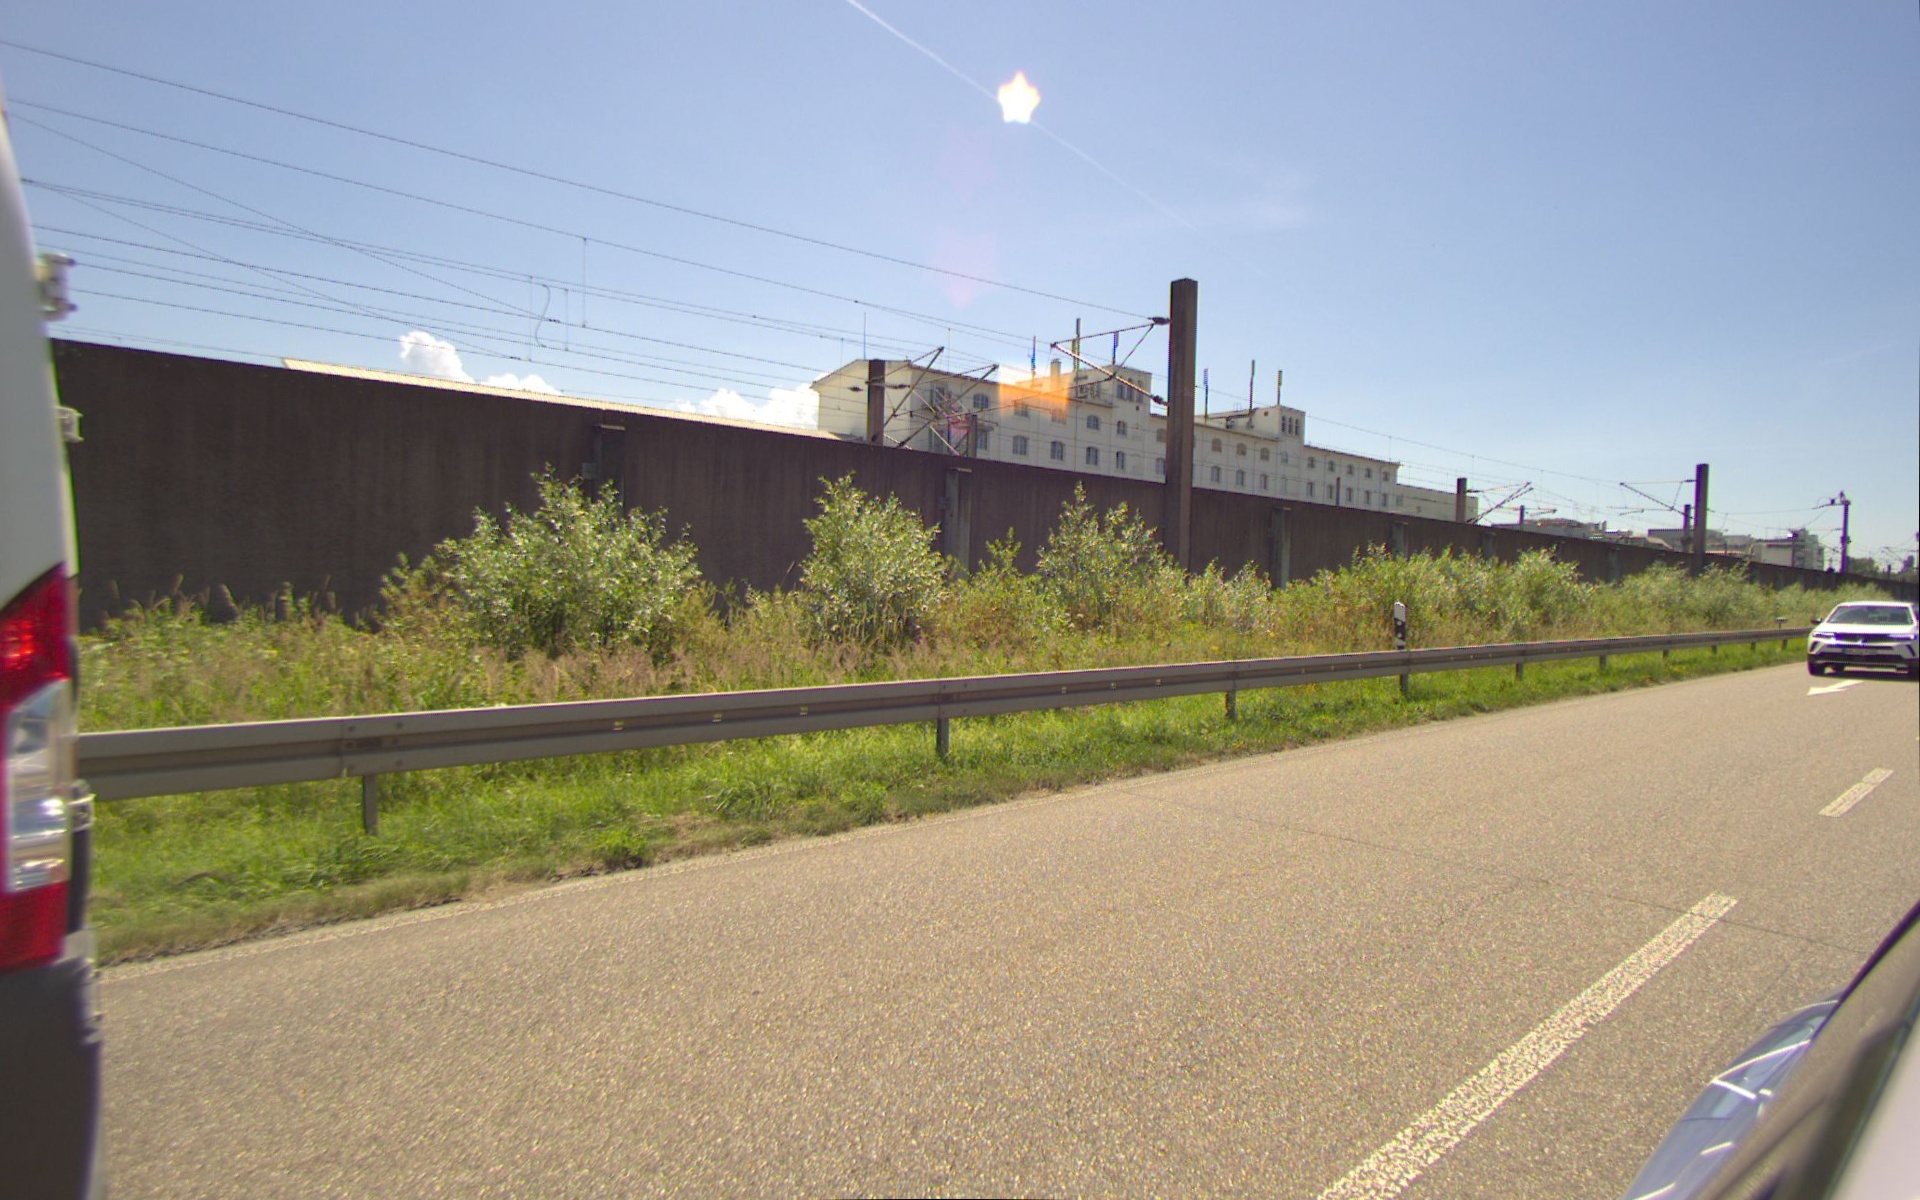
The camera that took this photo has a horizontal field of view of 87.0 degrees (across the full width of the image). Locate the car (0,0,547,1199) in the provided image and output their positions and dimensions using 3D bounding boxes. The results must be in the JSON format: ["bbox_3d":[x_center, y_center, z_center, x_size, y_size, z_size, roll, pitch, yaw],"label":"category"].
[{"bbox_3d":[-3.958,0.024,0.479,6.632,2.637,2.192,0,0,-41],"label":"car"}]

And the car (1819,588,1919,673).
[{"bbox_3d":[19.269,0.572,20.938,4.206,1.583,1.820,0,1,-43],"label":"car"}]
